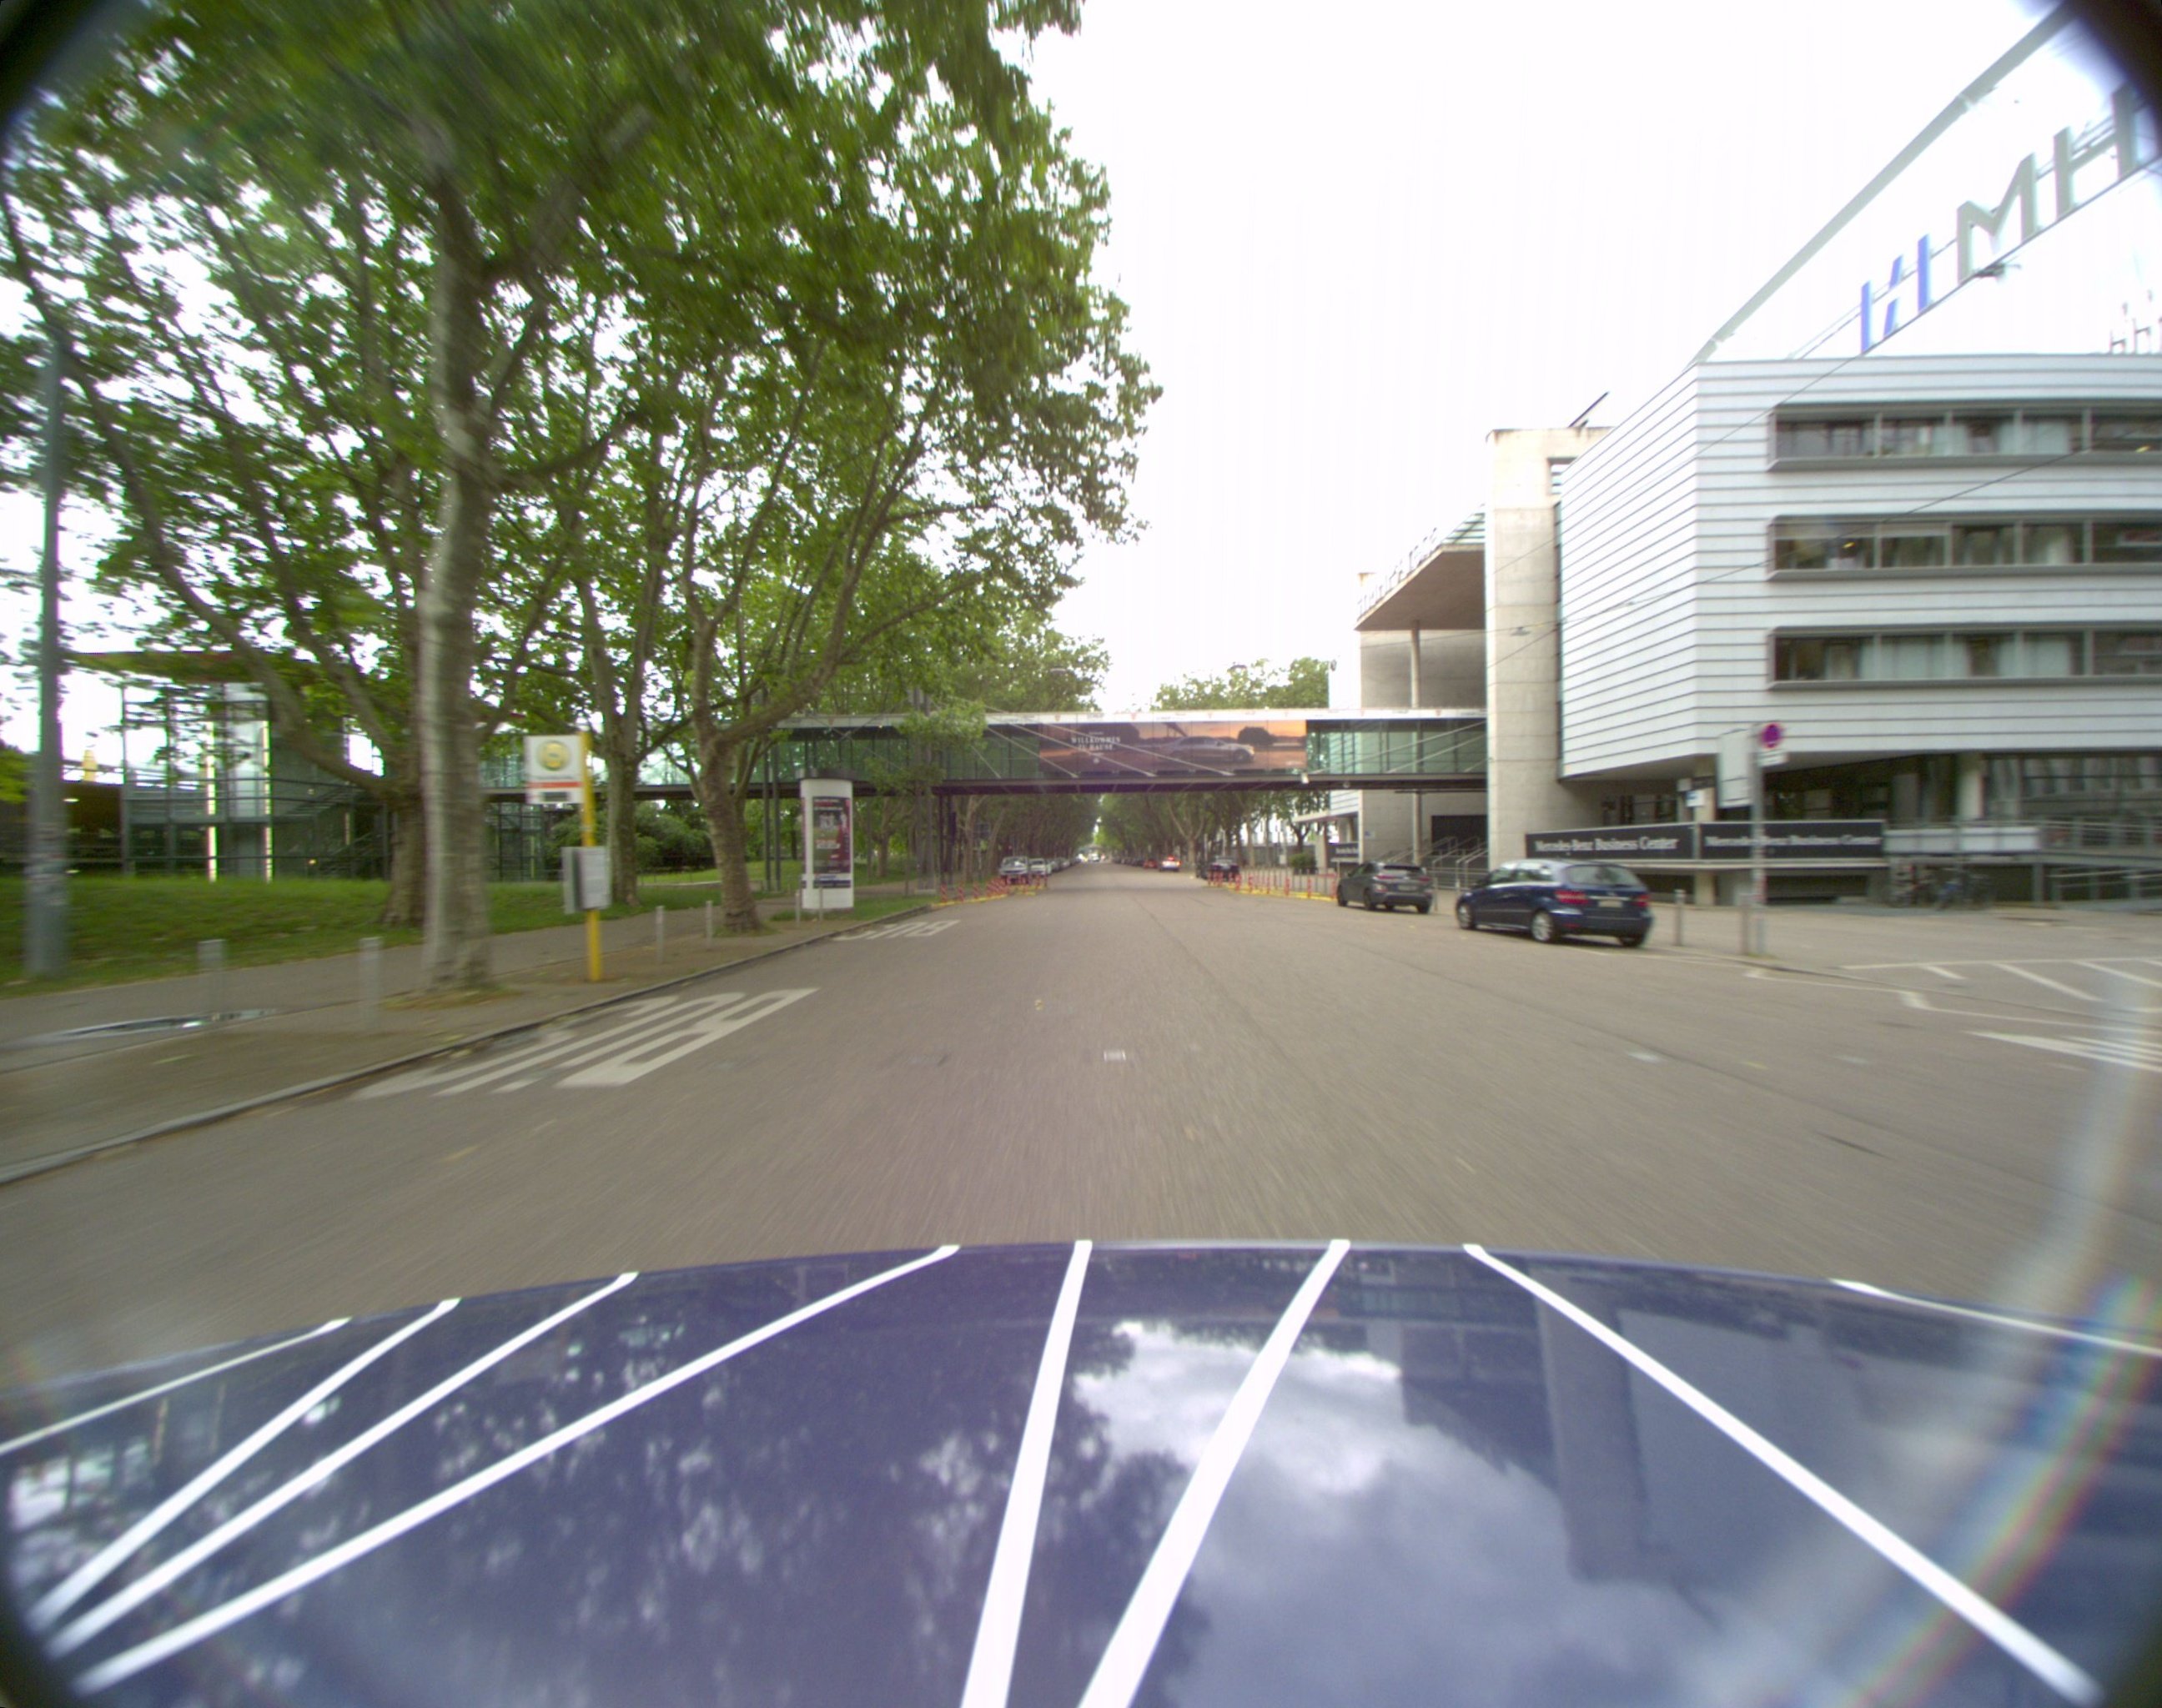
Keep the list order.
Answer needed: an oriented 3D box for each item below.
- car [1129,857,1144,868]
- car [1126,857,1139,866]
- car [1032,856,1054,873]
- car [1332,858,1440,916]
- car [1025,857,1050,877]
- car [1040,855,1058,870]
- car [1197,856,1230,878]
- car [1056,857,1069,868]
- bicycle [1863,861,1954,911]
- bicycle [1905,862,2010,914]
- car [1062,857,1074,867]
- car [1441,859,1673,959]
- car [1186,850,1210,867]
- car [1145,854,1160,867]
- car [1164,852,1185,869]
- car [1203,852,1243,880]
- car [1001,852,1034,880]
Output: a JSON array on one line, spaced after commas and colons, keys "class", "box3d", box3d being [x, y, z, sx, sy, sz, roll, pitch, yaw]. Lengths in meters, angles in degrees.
[{"class": "car", "box3d": [9.041, 1.360, 123.856, 1.921, 1.561, 4.497, -1, 0, -1]}, {"class": "car", "box3d": [9.224, 1.370, 135.566, 1.921, 1.561, 4.497, -1, 0, -1]}, {"class": "car", "box3d": [-3.672, 0.979, 73.897, 1.921, 1.561, 4.497, -1, 0, -1]}, {"class": "car", "box3d": [9.396, 0.957, 23.765, 1.758, 1.505, 4.009, 3, 1, 1]}, {"class": "car", "box3d": [-3.654, 1.055, 65.038, 1.921, 1.561, 4.497, -1, 0, -1]}, {"class": "car", "box3d": [-3.632, 0.970, 87.557, 1.921, 1.561, 4.497, -1, 0, -1]}, {"class": "car", "box3d": [9.998, 0.931, 57.537, 1.781, 1.461, 4.144, 3, 1, 1]}, {"class": "car", "box3d": [-2.753, 1.220, 113.102, 1.921, 1.561, 4.497, -1, 0, -1]}, {"class": "bicycle", "box3d": [21.211, 0.816, 19.488, 1.830, 1.180, 0.470, -2, 1, -2]}, {"class": "bicycle", "box3d": [21.306, 0.821, 18.481, 1.918, 1.180, 0.569, -2, 1, -2]}, {"class": "car", "box3d": [-2.179, 1.397, 129.006, 1.921, 1.561, 4.497, -1, 0, -1]}, {"class": "car", "box3d": [9.154, 0.954, 15.137, 1.758, 1.557, 4.386, 3, 0, 0]}, {"class": "car", "box3d": [11.106, 0.386, 72.042, 1.661, 1.461, 3.803, 3, 1, 1]}, {"class": "car", "box3d": [9.873, 0.894, 105.602, 1.757, 1.652, 4.000, -2, 1, 1]}, {"class": "car", "box3d": [9.934, 0.694, 81.264, 1.757, 1.652, 4.000, -2, 1, 1]}, {"class": "car", "box3d": [9.730, 0.790, 52.398, 1.929, 1.721, 4.233, 3, 1, 1]}, {"class": "car", "box3d": [-4.042, 0.720, 48.710, 1.757, 1.687, 4.497, -1, 0, -1]}]
